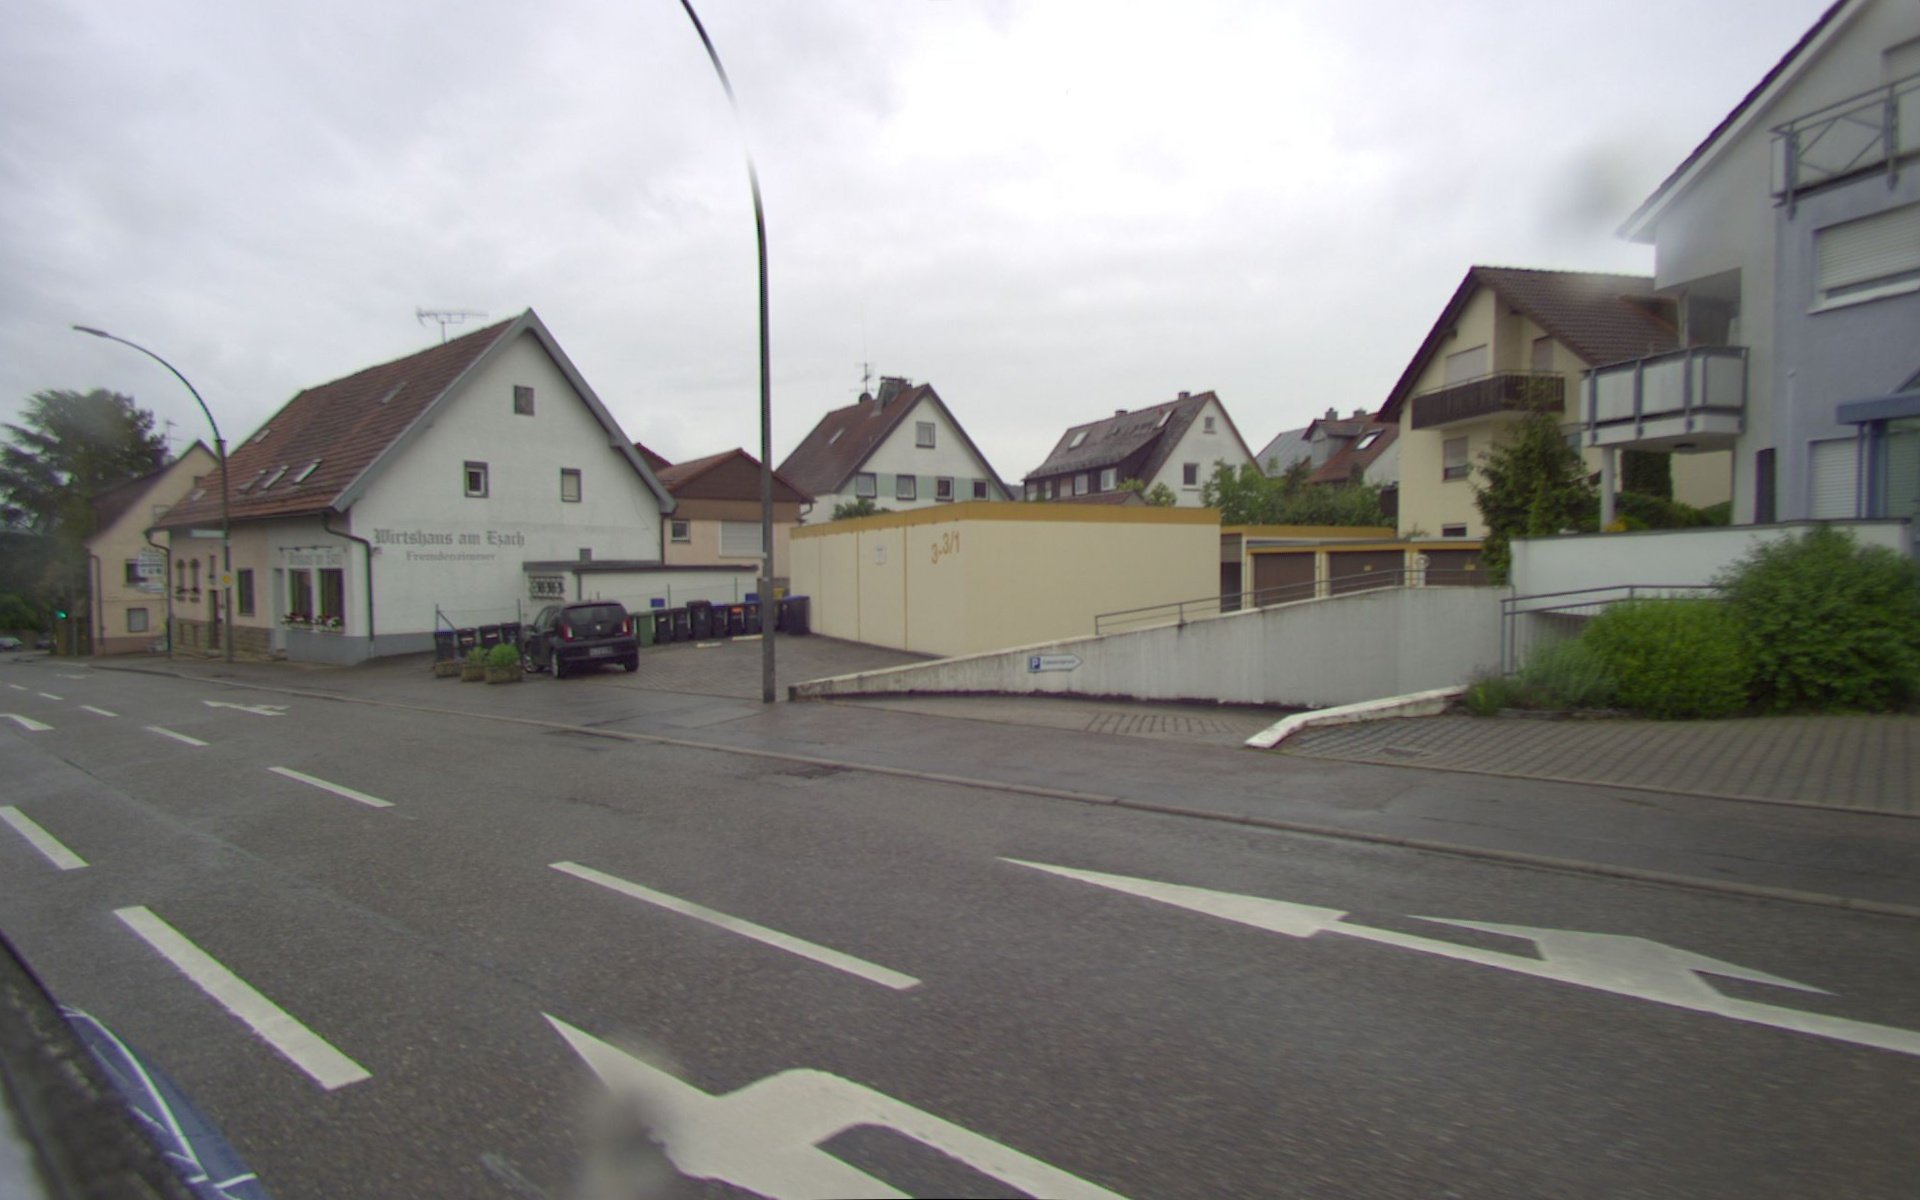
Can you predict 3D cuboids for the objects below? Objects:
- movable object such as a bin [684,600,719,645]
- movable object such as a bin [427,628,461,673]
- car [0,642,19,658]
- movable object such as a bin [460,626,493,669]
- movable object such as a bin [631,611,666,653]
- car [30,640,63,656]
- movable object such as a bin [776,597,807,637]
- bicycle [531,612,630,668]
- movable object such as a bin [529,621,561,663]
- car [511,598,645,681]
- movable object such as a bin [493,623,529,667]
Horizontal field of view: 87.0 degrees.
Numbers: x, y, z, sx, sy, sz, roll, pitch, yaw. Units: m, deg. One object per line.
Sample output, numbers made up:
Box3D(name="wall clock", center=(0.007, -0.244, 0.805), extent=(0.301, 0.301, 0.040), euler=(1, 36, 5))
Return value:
Box3D(name="movable object such as a bin", center=(-7.059, 0.608, 27.630), extent=(0.630, 1.138, 0.606), euler=(-6, 2, -36))
Box3D(name="movable object such as a bin", center=(-12.456, 1.208, 24.416), extent=(0.629, 1.040, 0.675), euler=(0, -2, -36))
Box3D(name="car", center=(-92.120, 4.793, 97.190), extent=(1.735, 1.430, 4.165), euler=(1, -2, -31))
Box3D(name="movable object such as a bin", center=(-11.847, 1.151, 24.776), extent=(0.629, 1.040, 0.606), euler=(0, -2, -36))
Box3D(name="movable object such as a bin", center=(-8.332, 0.861, 27.081), extent=(0.630, 1.039, 0.606), euler=(-7, 3, -36))
Box3D(name="car", center=(-98.706, 5.174, 109.403), extent=(1.803, 1.642, 4.166), euler=(0, -2, -30))
Box3D(name="movable object such as a bin", center=(-4.601, 0.464, 27.662), extent=(0.660, 1.087, 0.626), euler=(0, -2, -27))
Box3D(name="bicycle", center=(-9.100, 0.934, 24.306), extent=(2.069, 1.122, 0.739), euler=(-5, 4, -33))
Box3D(name="movable object such as a bin", center=(-10.520, 1.069, 25.667), extent=(0.629, 1.040, 0.606), euler=(0, -2, -36))
Box3D(name="car", center=(-8.028, 0.779, 21.068), extent=(1.875, 1.453, 3.839), euler=(-3, 0, -31))
Box3D(name="movable object such as a bin", center=(-11.170, 1.115, 25.198), extent=(0.630, 1.040, 0.606), euler=(-6, 2, -36))
